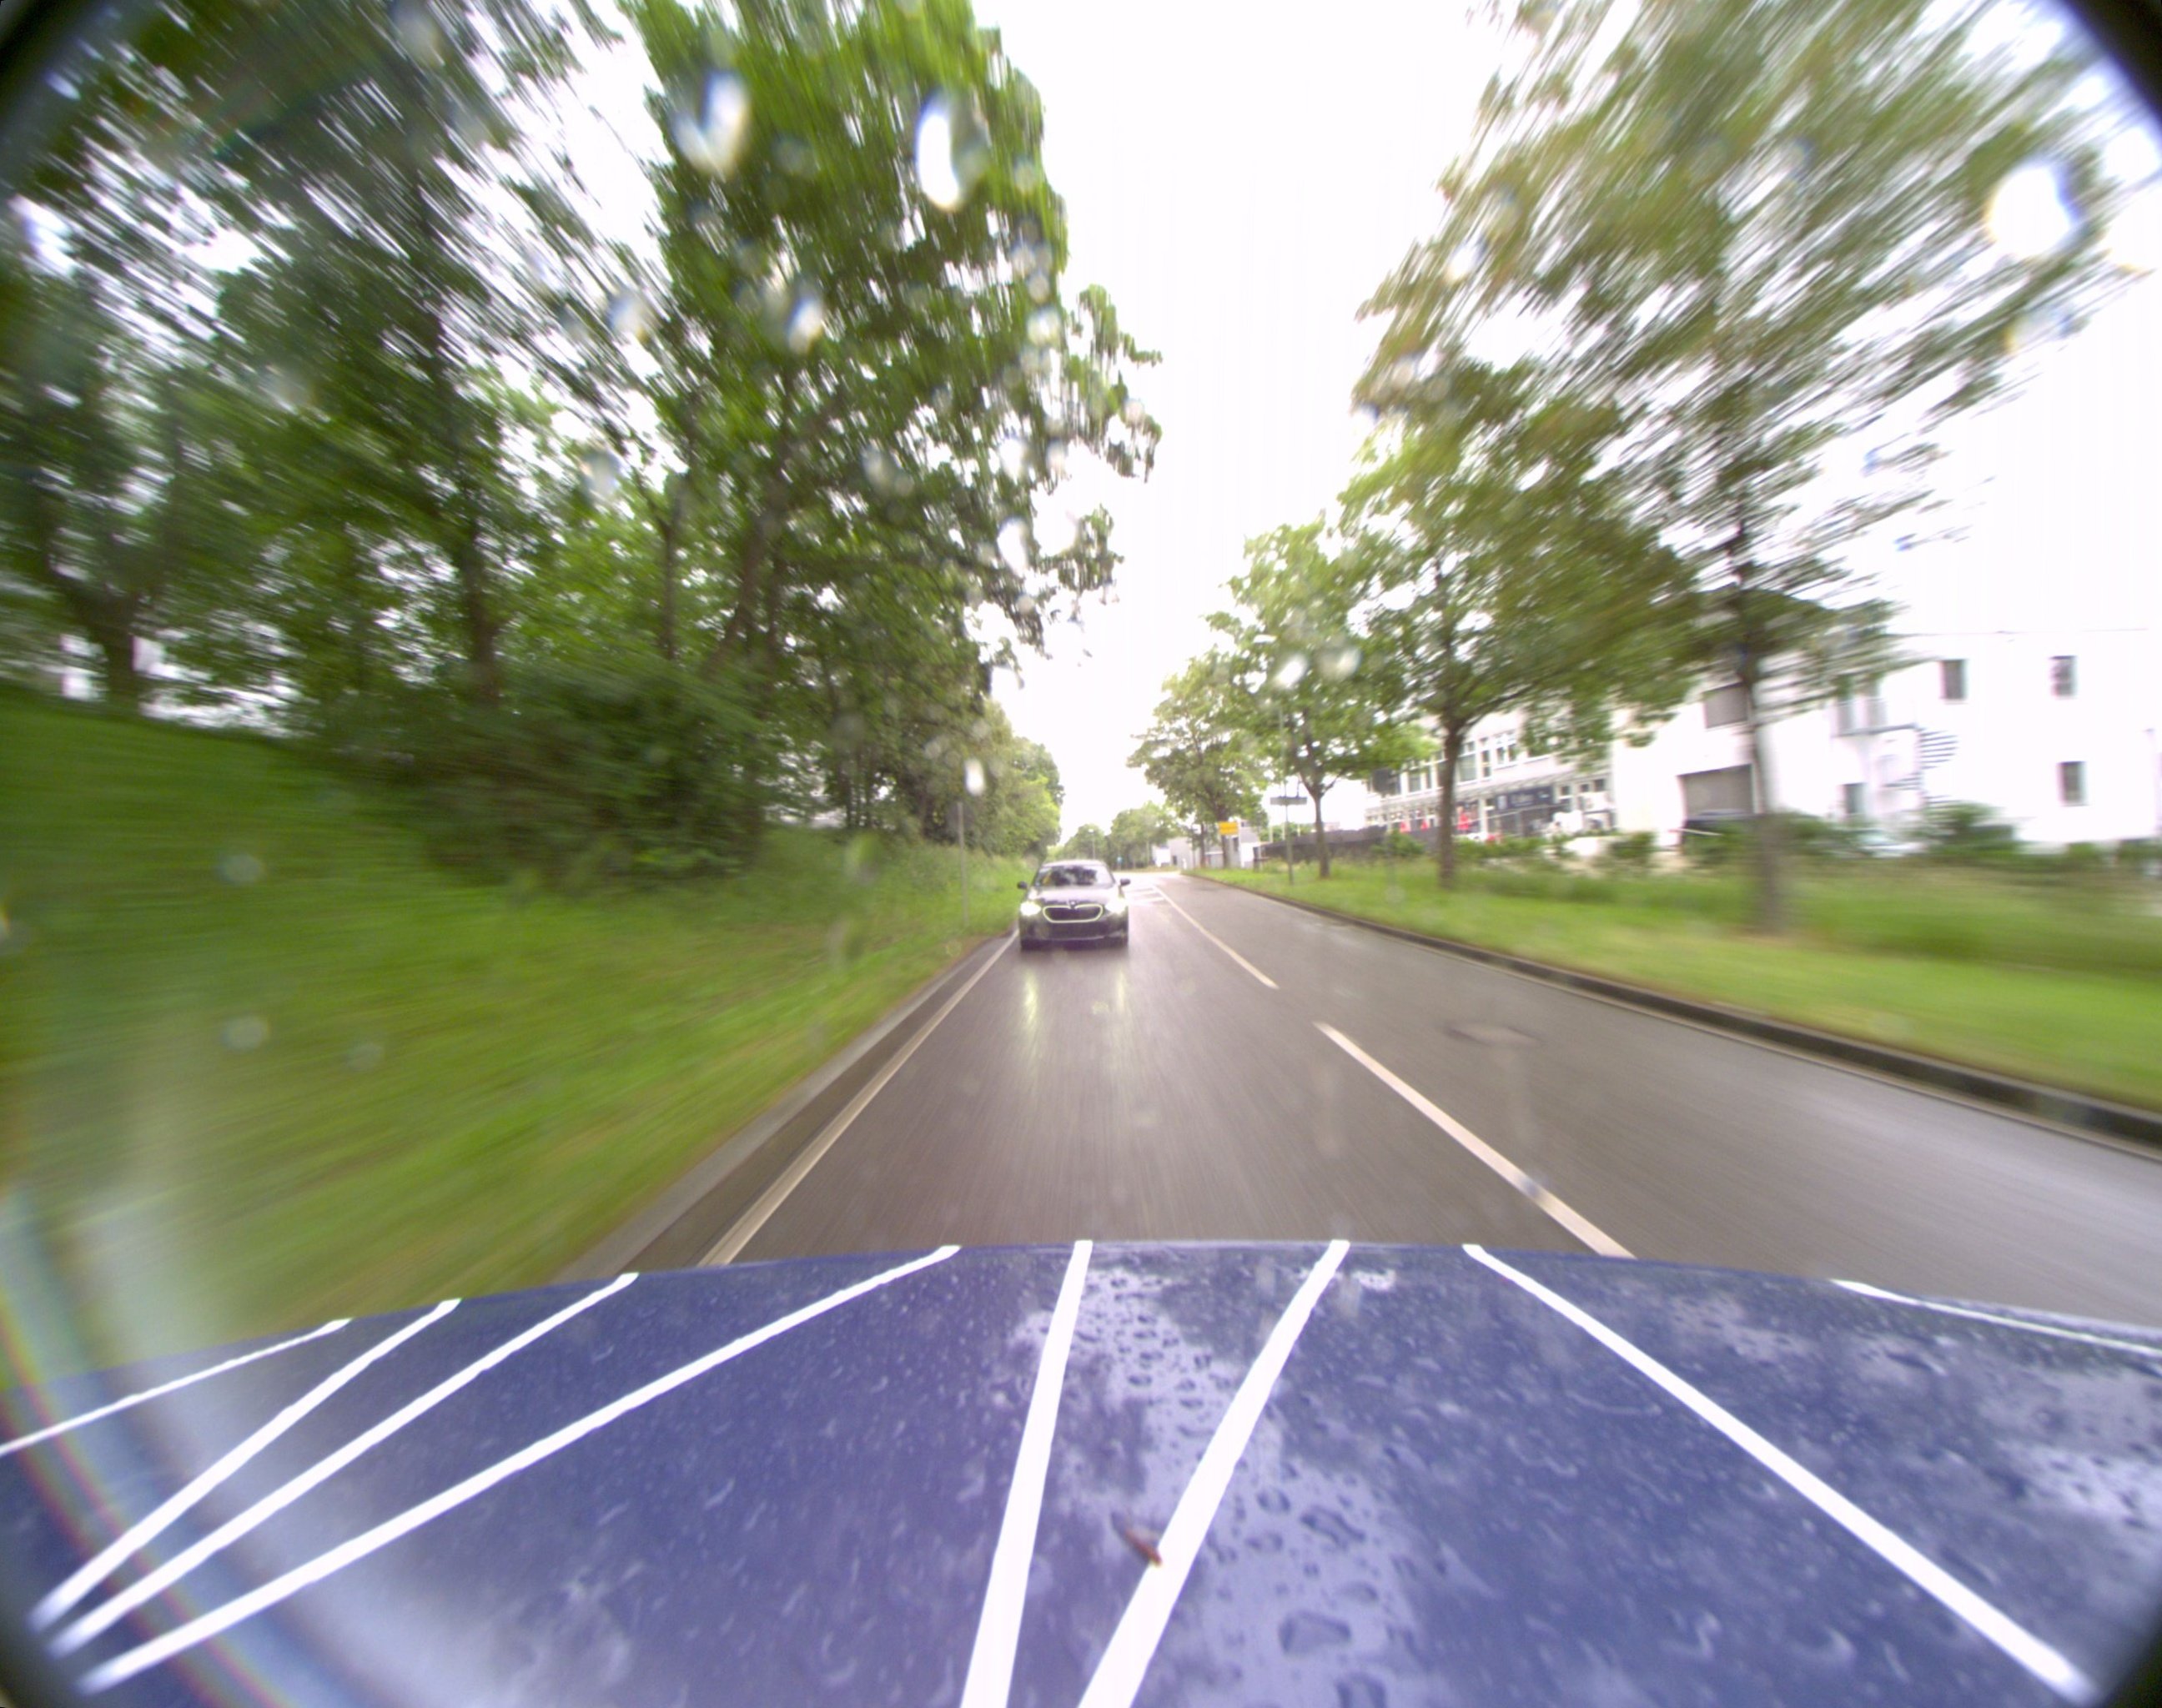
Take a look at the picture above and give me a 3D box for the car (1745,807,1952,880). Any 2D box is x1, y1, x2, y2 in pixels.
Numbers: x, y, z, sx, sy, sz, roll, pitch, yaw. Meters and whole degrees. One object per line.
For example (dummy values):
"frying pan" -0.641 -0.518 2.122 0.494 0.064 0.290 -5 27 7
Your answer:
"car" 27.507 -0.503 27.578 1.910 1.908 5.217 -3 9 -2

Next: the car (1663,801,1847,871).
"car" 24.805 -0.800 28.316 1.910 1.908 5.217 -3 9 -2

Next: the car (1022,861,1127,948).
"car" -0.084 0.922 15.637 1.845 1.471 4.000 -2 0 1
